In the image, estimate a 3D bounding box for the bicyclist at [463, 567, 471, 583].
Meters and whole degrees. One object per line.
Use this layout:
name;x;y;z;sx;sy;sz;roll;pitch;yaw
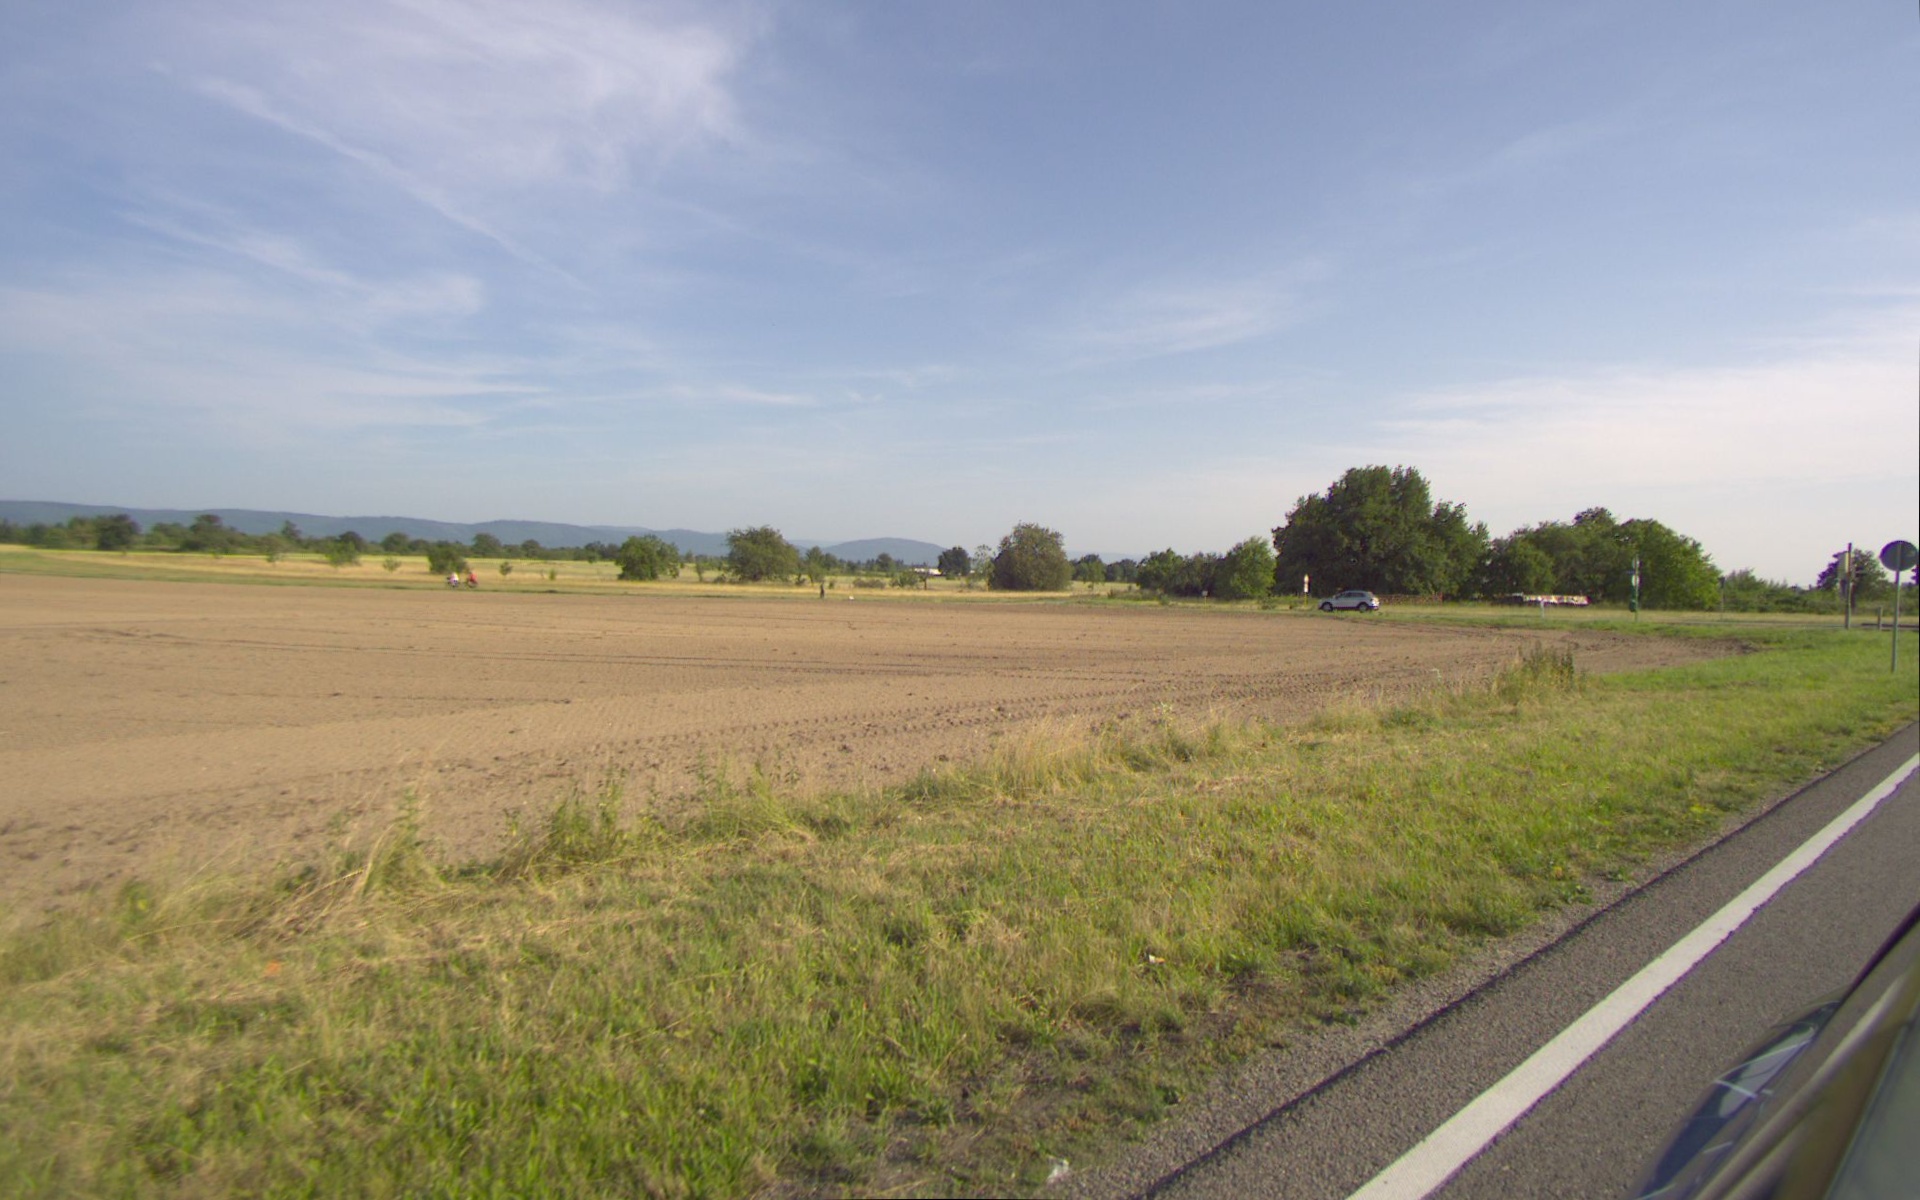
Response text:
bicyclist;-49.477;-2.486;101.578;0.540;1.617;0.487;0;0;2

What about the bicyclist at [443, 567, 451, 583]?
bicyclist;-50.975;-2.457;100.588;0.540;1.617;0.487;0;0;2

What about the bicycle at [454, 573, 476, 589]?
bicycle;-49.691;-1.892;101.595;1.941;1.550;0.503;0;0;3

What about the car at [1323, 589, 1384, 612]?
car;29.631;0.051;76.235;3.974;1.672;1.975;0;0;35

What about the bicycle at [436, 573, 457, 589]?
bicycle;-51.050;-1.899;100.597;1.941;1.550;0.503;0;0;3
